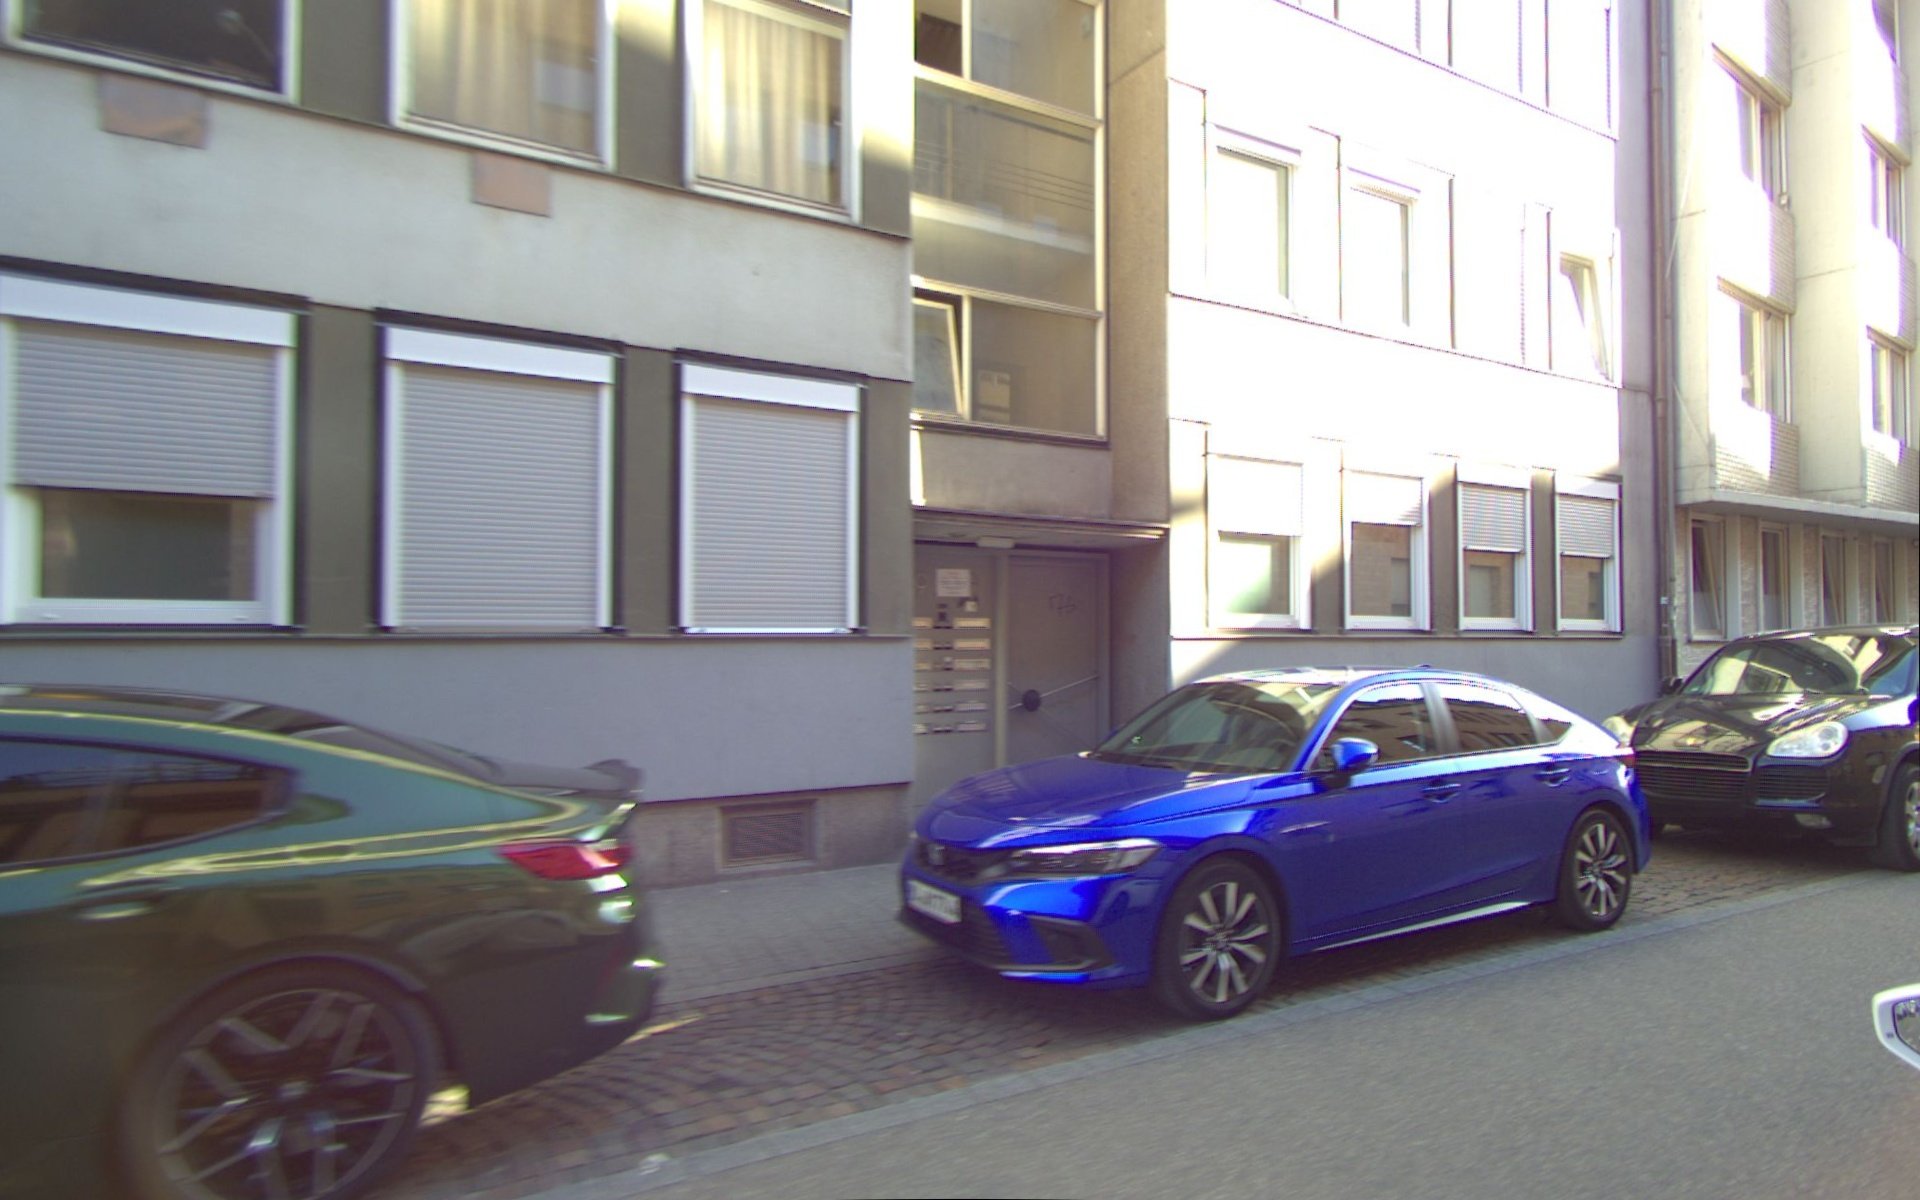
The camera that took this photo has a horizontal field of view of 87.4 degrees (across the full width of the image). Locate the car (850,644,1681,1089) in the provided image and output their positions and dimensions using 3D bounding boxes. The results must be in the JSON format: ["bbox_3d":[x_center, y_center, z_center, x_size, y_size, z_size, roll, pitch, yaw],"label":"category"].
[{"bbox_3d":[1.741,1.037,5.473,4.287,1.550,1.882,1,-3,-29],"label":"car"}]

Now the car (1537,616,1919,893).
[{"bbox_3d":[6.953,1.018,8.043,4.495,1.697,1.884,1,-3,-27],"label":"car"}]

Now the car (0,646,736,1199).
[{"bbox_3d":[-3.198,0.903,2.861,4.671,1.550,1.882,2,-3,-29],"label":"car"}]
